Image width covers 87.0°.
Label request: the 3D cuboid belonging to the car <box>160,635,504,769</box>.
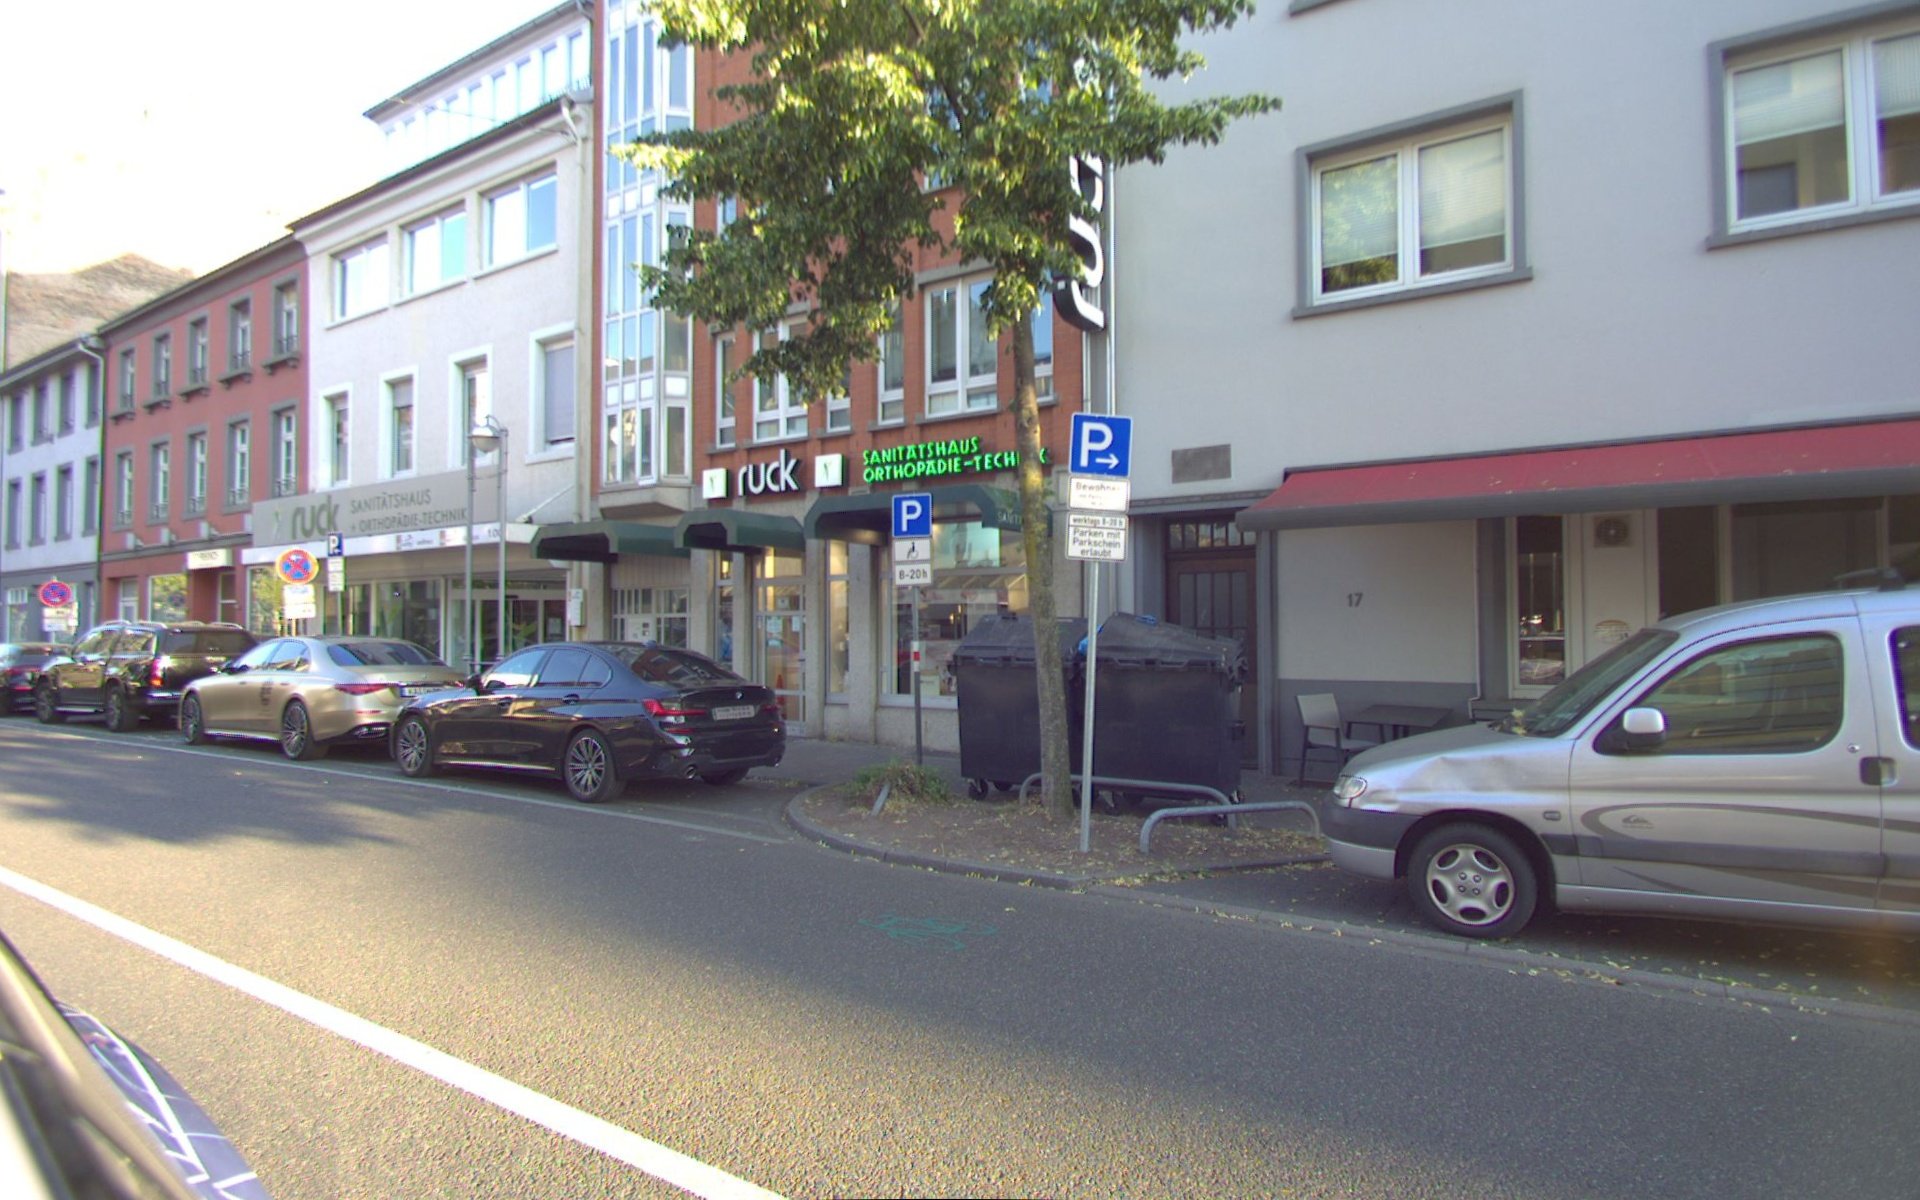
[{"bbox_3d":[-8.445,1.253,13.459,5.094,1.484,1.977,-2,-4,34],"label":"car"}]

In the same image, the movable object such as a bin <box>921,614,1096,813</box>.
[{"bbox_3d":[0.434,0.958,9.033,1.331,1.632,0.775,-1,-1,30],"label":"movable object such as a bin"}]

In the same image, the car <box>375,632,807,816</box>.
[{"bbox_3d":[-3.824,1.117,10.200,4.528,1.484,1.706,-2,-5,33],"label":"car"}]

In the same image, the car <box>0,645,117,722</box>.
[{"bbox_3d":[-19.165,1.671,20.750,4.001,1.448,1.688,-2,-5,32],"label":"car"}]

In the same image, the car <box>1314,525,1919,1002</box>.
[{"bbox_3d":[3.989,0.699,4.939,4.038,1.902,1.657,-1,-4,31],"label":"car"}]

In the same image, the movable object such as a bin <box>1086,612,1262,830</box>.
[{"bbox_3d":[1.754,0.932,8.288,1.203,1.632,0.775,-1,0,30],"label":"movable object such as a bin"}]

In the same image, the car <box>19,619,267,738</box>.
[{"bbox_3d":[-14.100,1.298,17.380,4.921,1.793,1.708,-2,-4,31],"label":"car"}]
